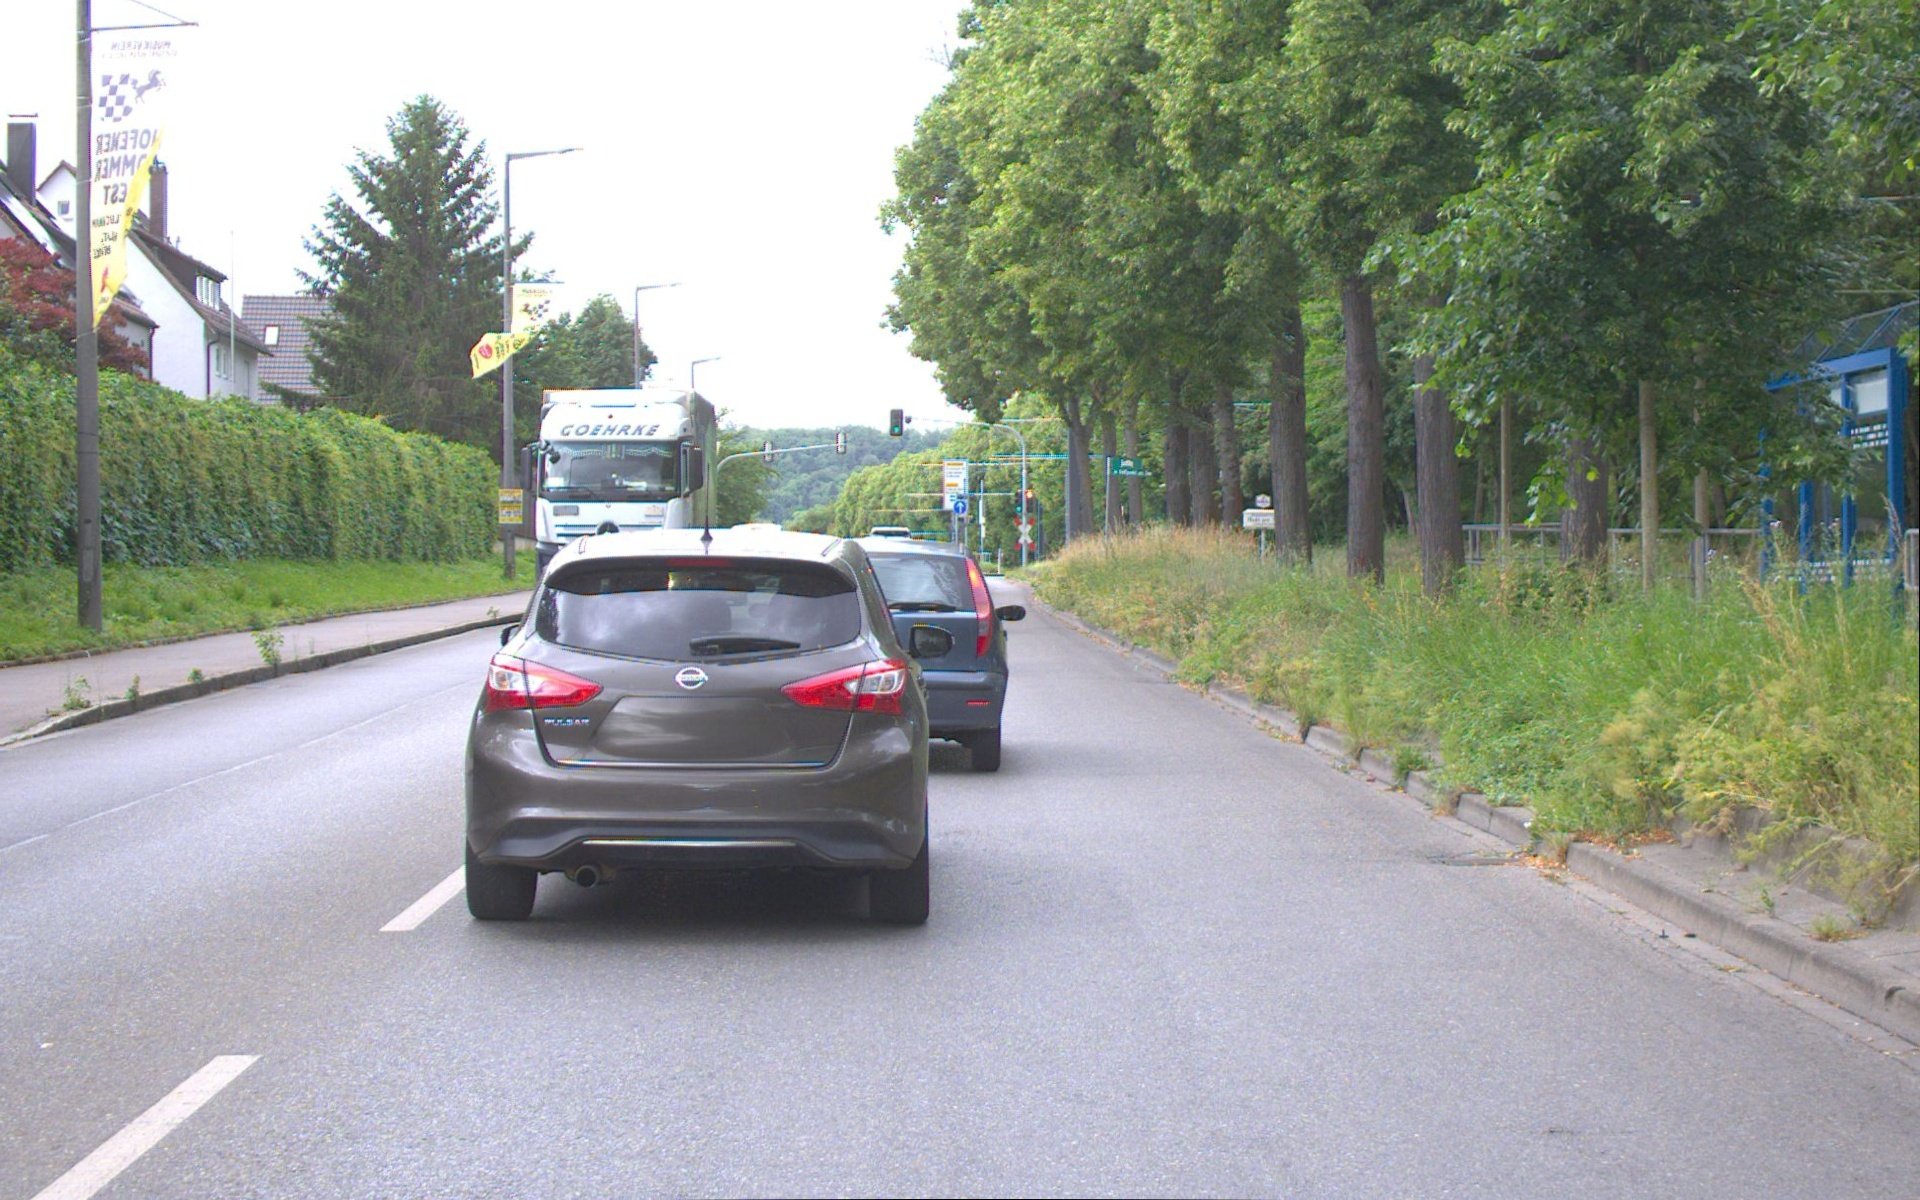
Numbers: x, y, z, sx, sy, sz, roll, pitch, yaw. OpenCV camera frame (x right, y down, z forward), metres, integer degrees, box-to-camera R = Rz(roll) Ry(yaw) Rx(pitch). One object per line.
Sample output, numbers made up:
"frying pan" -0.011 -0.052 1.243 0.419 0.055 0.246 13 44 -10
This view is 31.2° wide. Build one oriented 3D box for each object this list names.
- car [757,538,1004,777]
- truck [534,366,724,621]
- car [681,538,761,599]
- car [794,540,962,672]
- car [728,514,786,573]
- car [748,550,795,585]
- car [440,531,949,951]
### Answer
"car" -0.523 0.326 23.271 1.538 1.473 3.764 0 1 -1
"truck" -5.702 -1.775 60.829 2.549 4.030 10.621 -2 1 -2
"car" -5.723 -0.780 82.636 1.732 1.370 4.240 -1 1 -2
"car" -0.906 0.033 38.687 1.792 1.392 4.000 0 1 -1
"car" -6.822 -1.907 115.944 1.906 1.925 4.911 -1 1 -3
"car" -7.937 -1.374 145.031 1.886 1.378 4.491 -1 1 -3
"car" -0.991 0.466 14.653 1.835 1.514 4.483 0 1 -1
